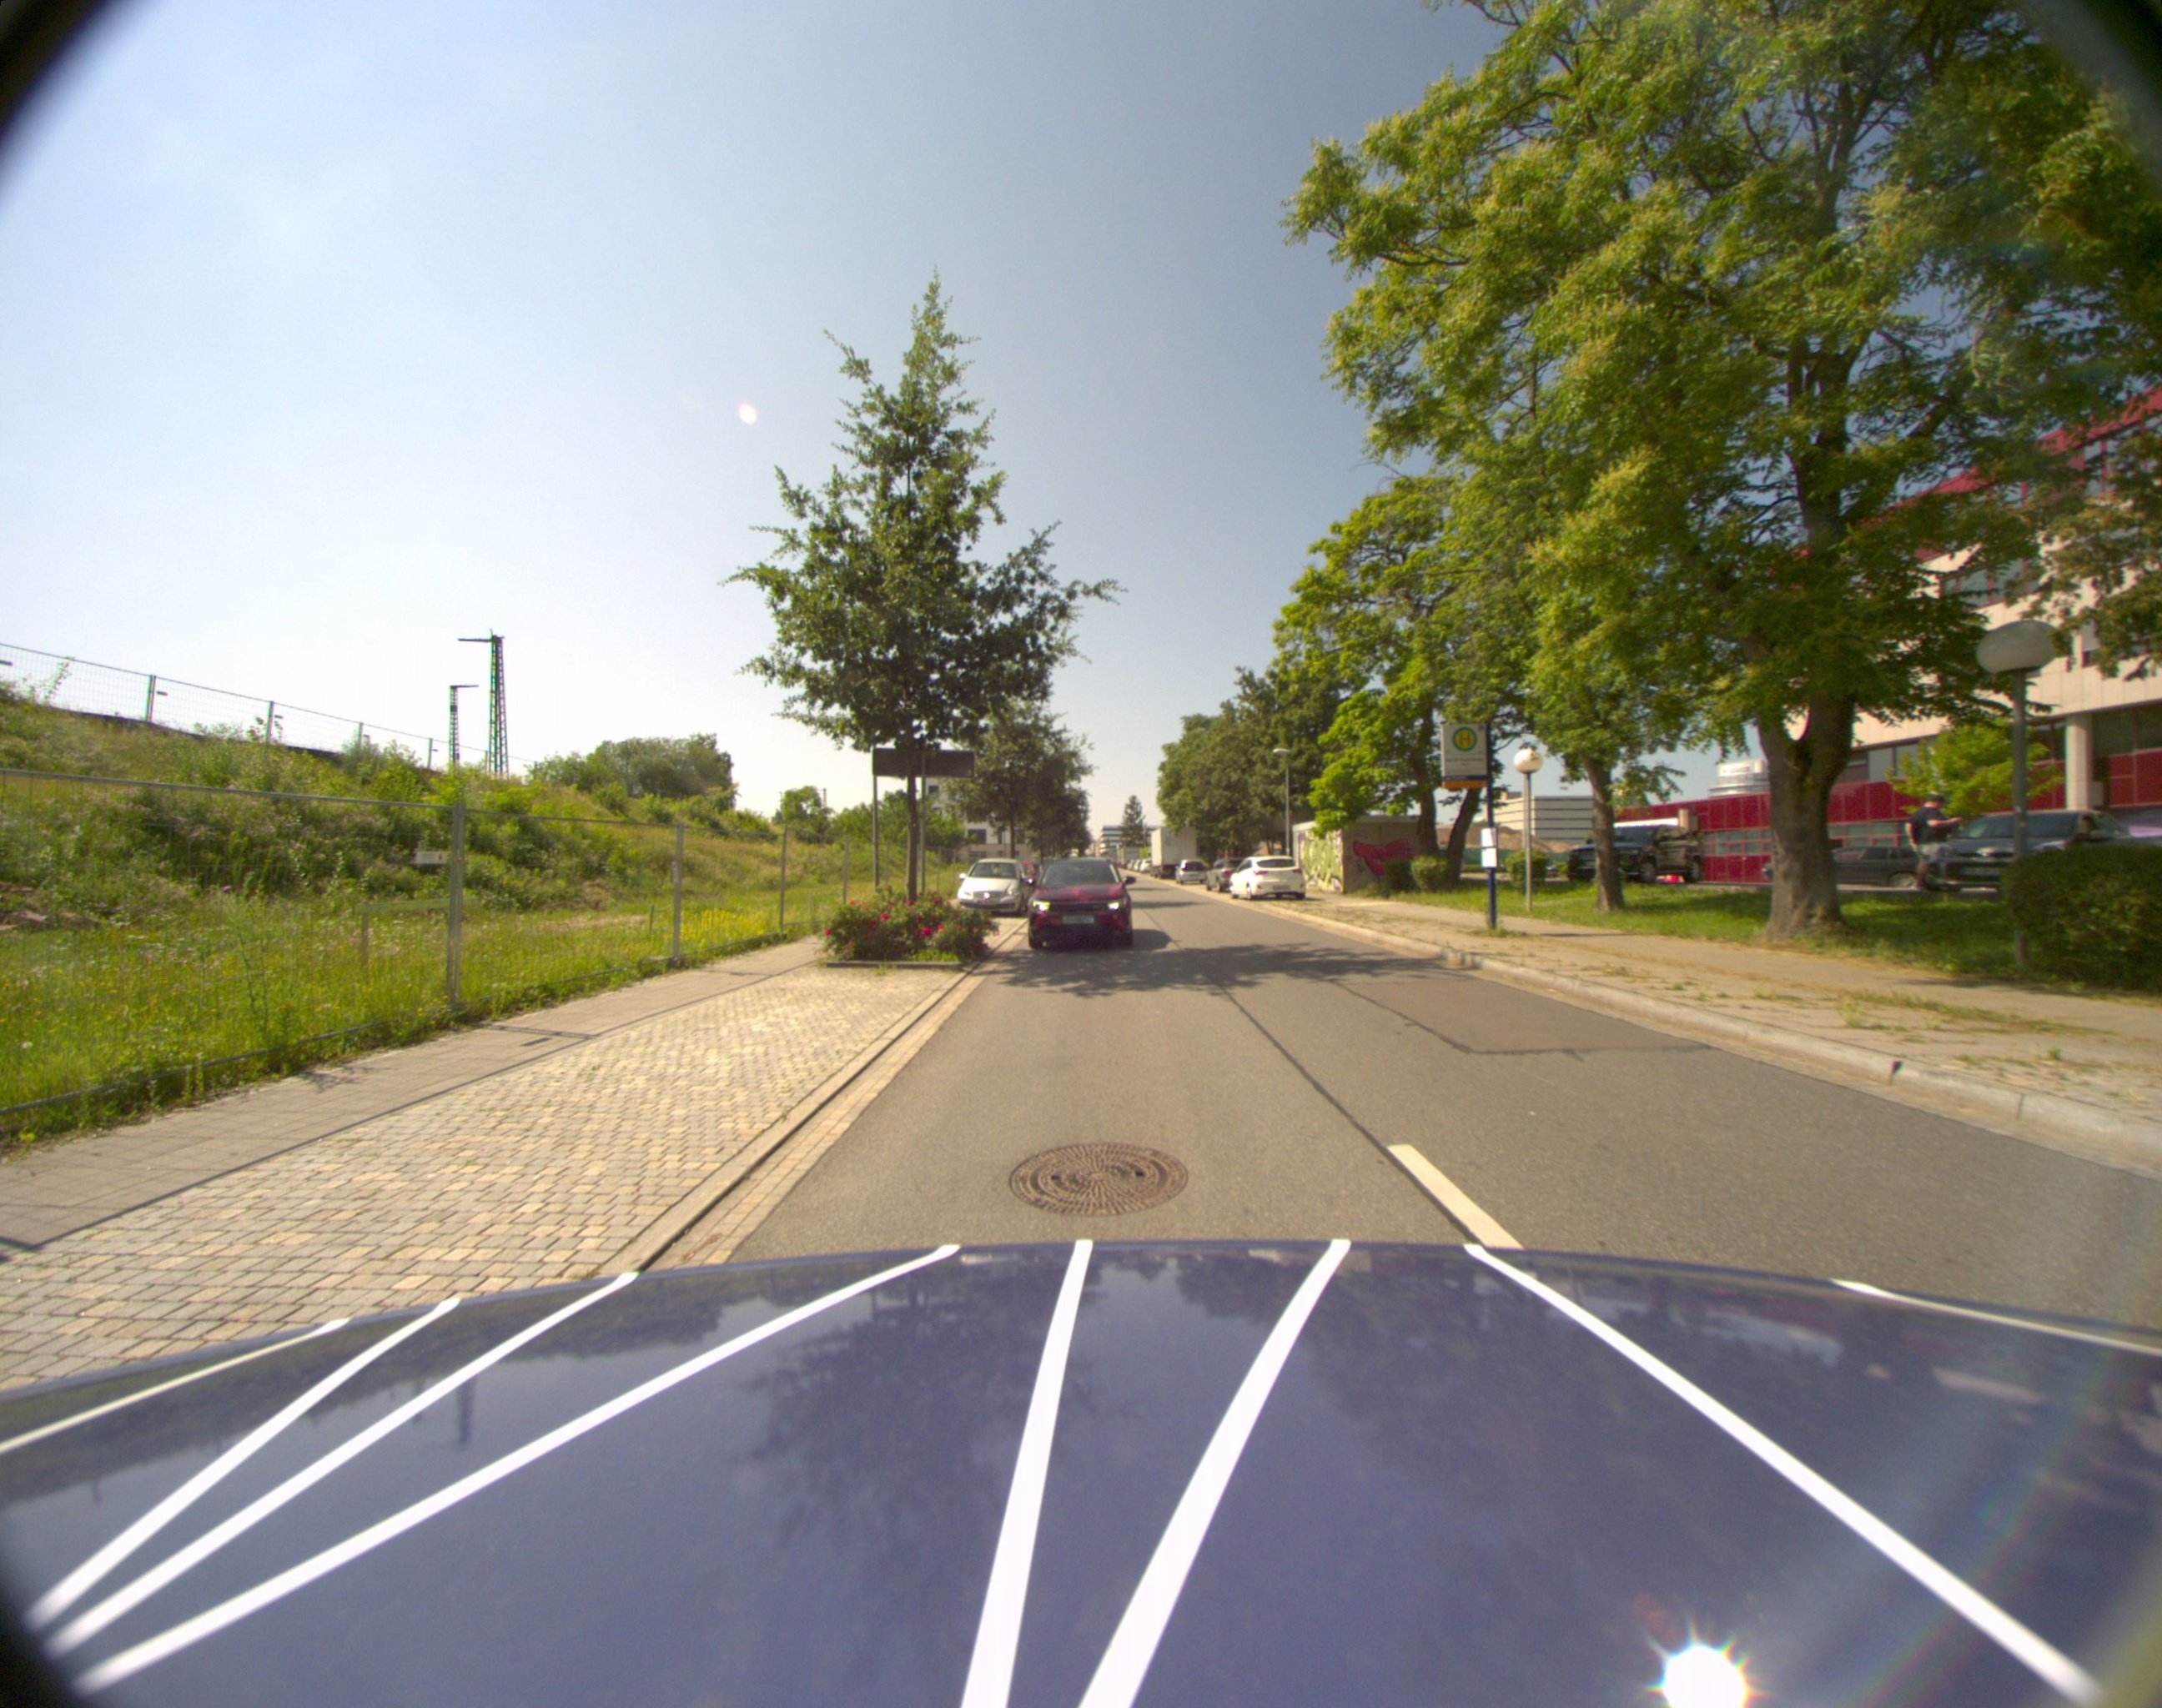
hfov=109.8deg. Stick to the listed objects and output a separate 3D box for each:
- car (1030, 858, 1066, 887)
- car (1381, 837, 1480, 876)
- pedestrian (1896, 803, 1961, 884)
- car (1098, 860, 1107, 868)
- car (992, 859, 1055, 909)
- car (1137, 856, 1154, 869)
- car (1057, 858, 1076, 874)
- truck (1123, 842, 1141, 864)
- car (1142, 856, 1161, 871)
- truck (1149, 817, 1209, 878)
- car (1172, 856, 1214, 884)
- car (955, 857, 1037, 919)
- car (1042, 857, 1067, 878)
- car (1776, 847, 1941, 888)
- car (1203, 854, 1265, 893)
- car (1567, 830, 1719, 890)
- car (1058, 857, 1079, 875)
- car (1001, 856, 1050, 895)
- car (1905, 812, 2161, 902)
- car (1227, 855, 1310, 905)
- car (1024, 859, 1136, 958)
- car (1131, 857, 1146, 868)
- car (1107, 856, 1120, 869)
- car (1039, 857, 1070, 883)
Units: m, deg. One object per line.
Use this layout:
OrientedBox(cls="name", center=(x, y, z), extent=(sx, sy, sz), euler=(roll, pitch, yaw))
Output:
OrientedBox(cls="car", center=(-1.885, 1.045, 44.259), extent=(1.869, 1.533, 4.000), euler=(-1, 0, 0))
OrientedBox(cls="car", center=(17.115, 0.139, 37.216), extent=(4.724, 1.793, 1.996), euler=(0, -1, -30))
OrientedBox(cls="pedestrian", center=(16.557, -0.194, 14.854), extent=(0.563, 1.518, 0.758), euler=(-1, 0, 22))
OrientedBox(cls="car", center=(4.615, 2.137, 162.723), extent=(1.764, 1.783, 4.001), euler=(-1, 0, 3))
OrientedBox(cls="car", center=(-1.956, 1.003, 26.855), extent=(1.847, 1.606, 4.000), euler=(1, -1, 1))
OrientedBox(cls="car", center=(7.927, 1.078, 93.254), extent=(1.814, 1.506, 4.001), euler=(-2, 0, 2))
OrientedBox(cls="car", center=(-1.475, 1.192, 79.089), extent=(1.847, 1.606, 4.000), euler=(1, -1, 1))
OrientedBox(cls="truck", center=(8.140, -0.145, 121.420), extent=(2.701, 3.300, 7.345), euler=(-1, 0, 4))
OrientedBox(cls="car", center=(7.616, 1.057, 82.206), extent=(1.814, 1.506, 4.001), euler=(-2, 0, 2))
OrientedBox(cls="truck", center=(7.260, -0.405, 57.659), extent=(3.353, 4.119, 9.279), euler=(-2, 0, 1))
OrientedBox(cls="car", center=(6.561, 0.907, 44.818), extent=(1.815, 1.506, 4.000), euler=(-2, 0, 0))
OrientedBox(cls="car", center=(-2.399, 0.938, 22.504), extent=(1.847, 1.606, 4.370), euler=(2, -1, 1))
OrientedBox(cls="car", center=(-2.144, 1.091, 62.162), extent=(1.847, 1.606, 4.000), euler=(1, -1, 1))
OrientedBox(cls="car", center=(28.925, 0.497, 28.474), extent=(4.228, 1.443, 1.726), euler=(-1, 0, 43))
OrientedBox(cls="car", center=(6.590, 0.818, 33.053), extent=(1.815, 1.506, 4.000), euler=(-2, 0, 0))
OrientedBox(cls="car", center=(16.192, 0.141, 21.815), extent=(4.824, 1.484, 1.848), euler=(-2, 0, -32))
OrientedBox(cls="car", center=(-1.140, 1.150, 71.104), extent=(1.847, 1.606, 4.000), euler=(1, -1, 1))
OrientedBox(cls="car", center=(-2.439, 0.929, 34.337), extent=(1.847, 1.606, 4.000), euler=(1, -1, 1))
OrientedBox(cls="car", center=(16.618, 0.014, 13.207), extent=(3.993, 1.330, 1.715), euler=(-2, 0, -21))
OrientedBox(cls="car", center=(6.251, 0.816, 25.746), extent=(1.766, 1.484, 4.000), euler=(-2, 0, 0))
OrientedBox(cls="car", center=(-0.031, 0.938, 14.712), extent=(1.821, 1.594, 4.307), euler=(-1, -1, 0))
OrientedBox(cls="car", center=(8.013, 1.162, 105.669), extent=(1.814, 1.506, 4.001), euler=(-2, 0, 2))
OrientedBox(cls="car", center=(4.793, 1.224, 112.824), extent=(1.790, 1.783, 4.001), euler=(-1, 0, 2))
OrientedBox(cls="car", center=(-1.724, 1.043, 50.584), extent=(1.847, 1.606, 4.000), euler=(1, -1, 1))
